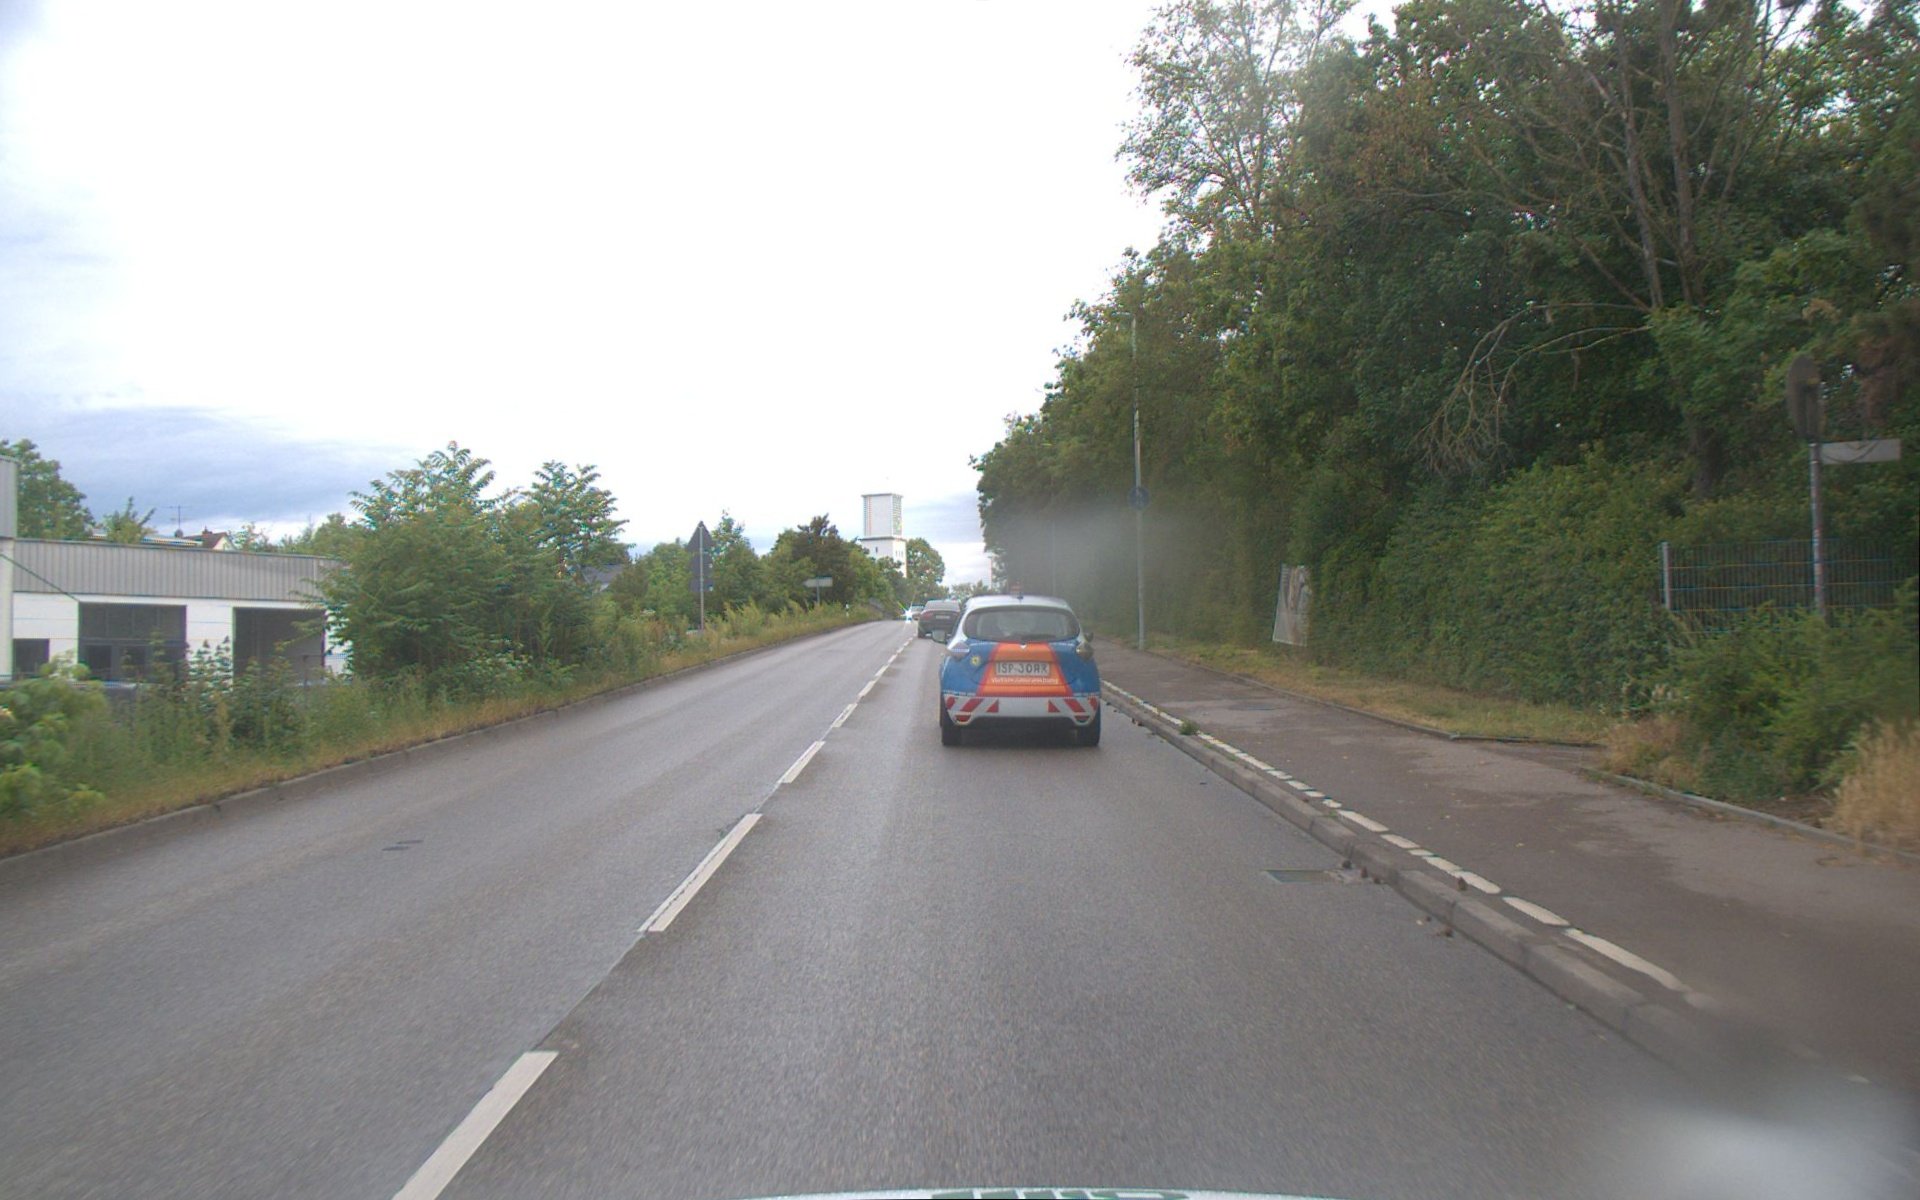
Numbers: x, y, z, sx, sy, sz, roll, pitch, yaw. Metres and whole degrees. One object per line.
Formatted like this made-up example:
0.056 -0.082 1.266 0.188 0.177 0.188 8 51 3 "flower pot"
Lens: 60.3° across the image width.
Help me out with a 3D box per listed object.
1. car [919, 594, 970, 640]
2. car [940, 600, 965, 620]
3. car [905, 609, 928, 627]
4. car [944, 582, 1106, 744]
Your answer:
-0.588 0.632 61.671 1.766 1.618 3.561 -2 -1 -2 "car"
-0.538 0.735 119.817 1.582 1.432 3.495 -2 -1 -3 "car"
-4.165 1.736 160.156 1.830 1.613 4.416 1 0 3 "car"
0.646 0.677 18.491 1.623 1.621 3.567 0 -1 -1 "car"
